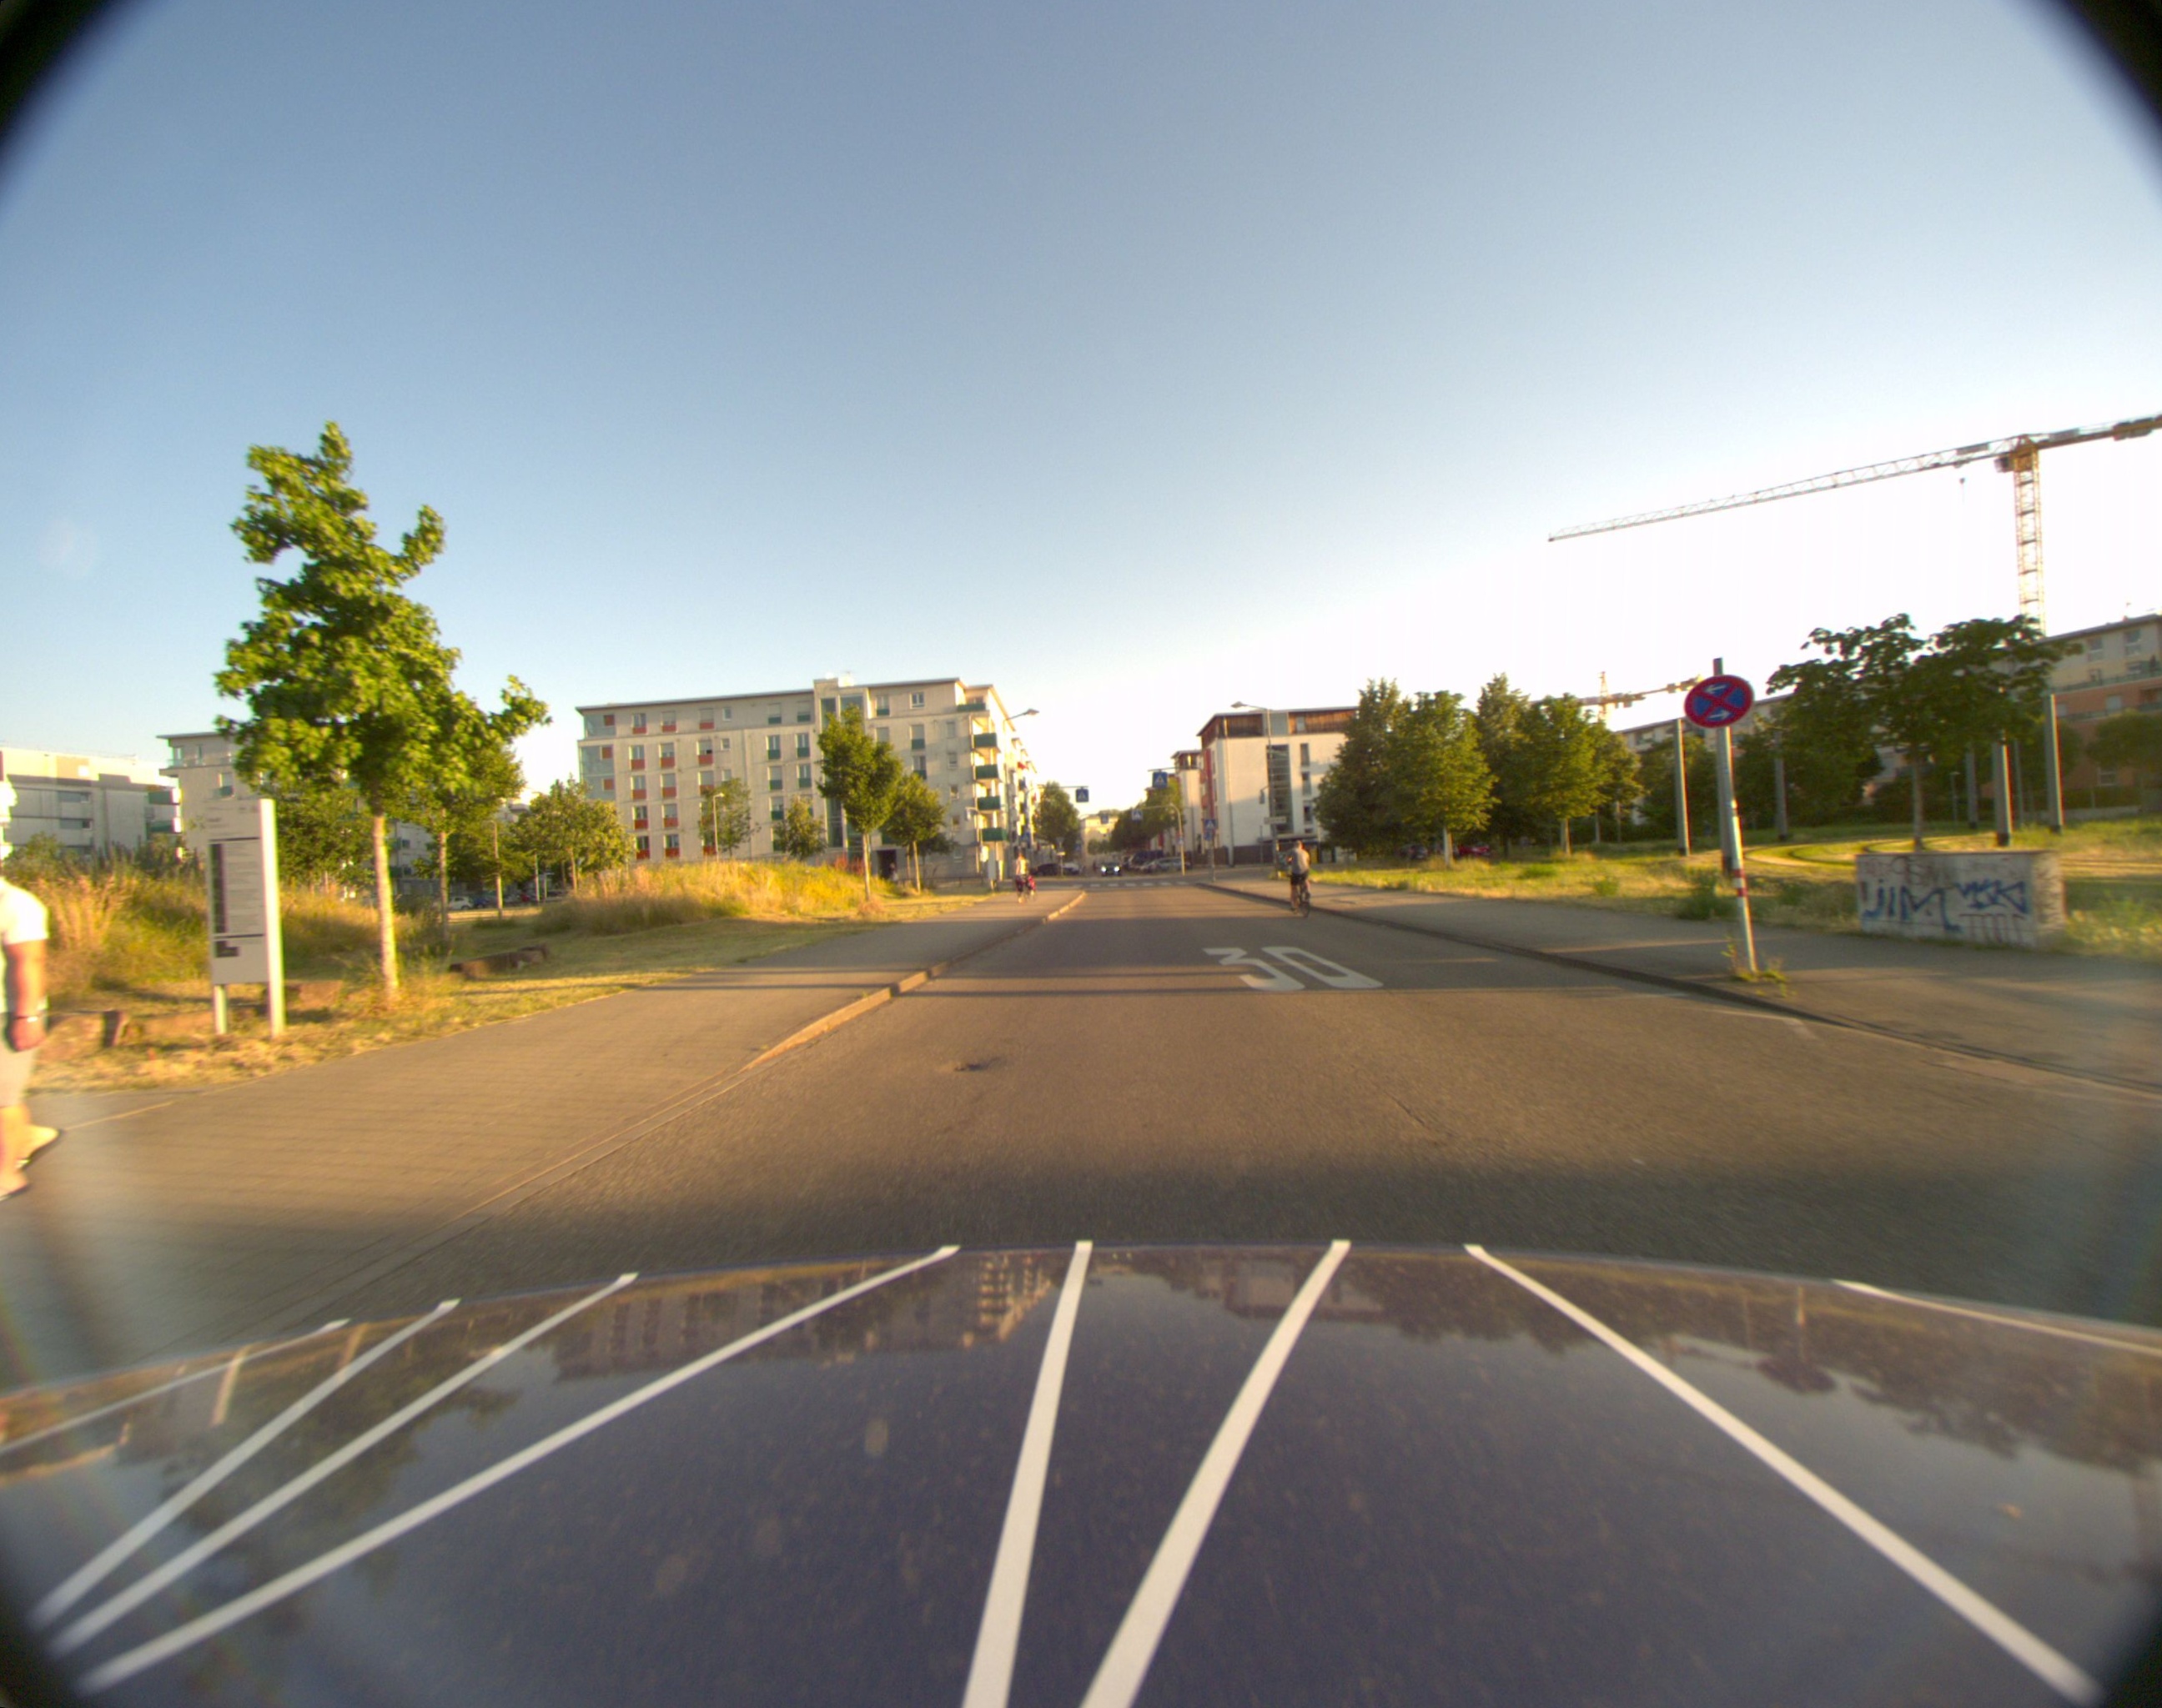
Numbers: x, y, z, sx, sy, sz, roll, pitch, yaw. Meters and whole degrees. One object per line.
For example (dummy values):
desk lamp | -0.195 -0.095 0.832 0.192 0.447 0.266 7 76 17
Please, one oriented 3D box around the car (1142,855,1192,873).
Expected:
car | 9.052 1.063 79.943 4.915 1.469 1.711 -5 -1 -2

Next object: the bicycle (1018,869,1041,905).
bicycle | -1.770 1.115 26.416 0.451 1.161 1.942 -3 -1 5

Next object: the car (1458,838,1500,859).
car | 31.543 -0.434 60.328 1.593 1.491 3.411 -3 0 3

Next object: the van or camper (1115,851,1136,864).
van or camper | 9.380 0.745 160.224 4.251 2.520 1.761 -1 0 1

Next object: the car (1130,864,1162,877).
car | 8.700 2.197 102.275 4.102 1.616 1.724 0 -1 -4

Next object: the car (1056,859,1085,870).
car | -1.587 1.566 115.069 4.250 1.527 1.693 -1 -1 2

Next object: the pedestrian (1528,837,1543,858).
pedestrian | 37.581 -0.551 62.805 0.743 1.657 0.624 -5 1 -9

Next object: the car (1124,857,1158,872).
car | 7.733 1.360 97.863 4.102 1.616 1.724 -4 0 -4

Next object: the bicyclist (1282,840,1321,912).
bicyclist | 5.316 0.523 18.396 0.616 1.652 1.037 -3 -1 4

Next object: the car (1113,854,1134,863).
car | 8.708 0.931 155.360 4.250 1.775 1.693 -1 -1 2

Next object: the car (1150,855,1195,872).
car | 9.277 0.968 77.442 4.291 1.449 1.680 -3 -1 -1

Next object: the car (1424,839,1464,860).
car | 28.956 -0.353 60.717 1.593 1.491 3.411 -3 0 3

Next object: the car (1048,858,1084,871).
car | -1.816 1.225 90.248 4.294 1.499 1.685 0 -1 -3

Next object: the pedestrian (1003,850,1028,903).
pedestrian | -2.282 0.790 26.504 0.596 1.791 0.818 -3 -1 6

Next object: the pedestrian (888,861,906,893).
pedestrian | -10.529 1.324 43.464 0.733 1.773 0.802 -3 -1 2

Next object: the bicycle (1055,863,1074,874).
bicycle | -1.608 1.408 75.022 1.839 1.065 0.473 -1 -1 -4

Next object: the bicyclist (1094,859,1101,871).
bicyclist | 2.290 1.479 104.831 0.767 1.617 0.663 -3 -1 -1

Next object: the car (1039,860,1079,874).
car | -2.415 1.369 82.910 4.293 1.485 1.743 -1 -1 0

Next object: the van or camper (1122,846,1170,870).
van or camper | 9.249 0.567 108.205 6.315 3.068 2.442 -4 0 -4

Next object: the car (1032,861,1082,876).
car | -2.403 1.465 77.366 4.886 1.449 1.938 -1 -1 3

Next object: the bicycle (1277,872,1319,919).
bicycle | 5.225 0.967 18.386 0.540 1.036 1.926 -3 -1 4

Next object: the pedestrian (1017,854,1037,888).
pedestrian | -2.866 0.891 40.108 0.801 1.719 0.768 -3 -1 8

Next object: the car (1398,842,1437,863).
car | 26.959 -0.145 60.962 1.689 1.513 3.411 -3 0 3

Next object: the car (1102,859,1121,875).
car | 2.962 1.221 72.983 1.776 1.454 4.180 -1 -1 3

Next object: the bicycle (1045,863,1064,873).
bicycle | -2.598 1.377 74.331 1.792 1.035 0.567 -1 -1 -4

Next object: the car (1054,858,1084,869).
car | -1.721 1.423 110.381 4.252 1.500 1.751 0 -1 -4

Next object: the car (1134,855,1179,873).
car | 8.456 1.100 85.238 4.760 1.575 1.758 -5 -1 -3

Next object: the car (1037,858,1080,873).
car | -2.324 1.246 80.187 4.411 1.499 1.743 -1 -1 4

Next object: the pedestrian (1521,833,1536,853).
pedestrian | 37.412 -0.890 63.481 0.713 1.590 0.656 -5 1 -11

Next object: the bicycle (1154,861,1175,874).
bicycle | 8.231 1.304 74.882 1.821 1.060 0.567 -6 -1 -2

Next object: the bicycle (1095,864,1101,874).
bicycle | 2.323 2.072 104.825 0.771 1.259 1.782 -3 -1 -1

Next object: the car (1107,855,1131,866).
car | 6.659 1.182 133.491 4.251 1.919 1.693 0 -1 0

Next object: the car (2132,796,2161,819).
car | 82.411 -3.611 56.979 1.702 1.684 3.879 -3 -1 -2

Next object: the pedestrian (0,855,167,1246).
pedestrian | -5.293 0.896 3.623 0.833 1.756 0.818 0 2 6

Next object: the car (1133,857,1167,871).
car | 8.606 1.287 94.941 3.919 1.506 1.724 -4 0 -4

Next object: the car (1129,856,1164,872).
car | 8.012 1.252 92.685 3.919 1.700 1.724 -4 0 -4
